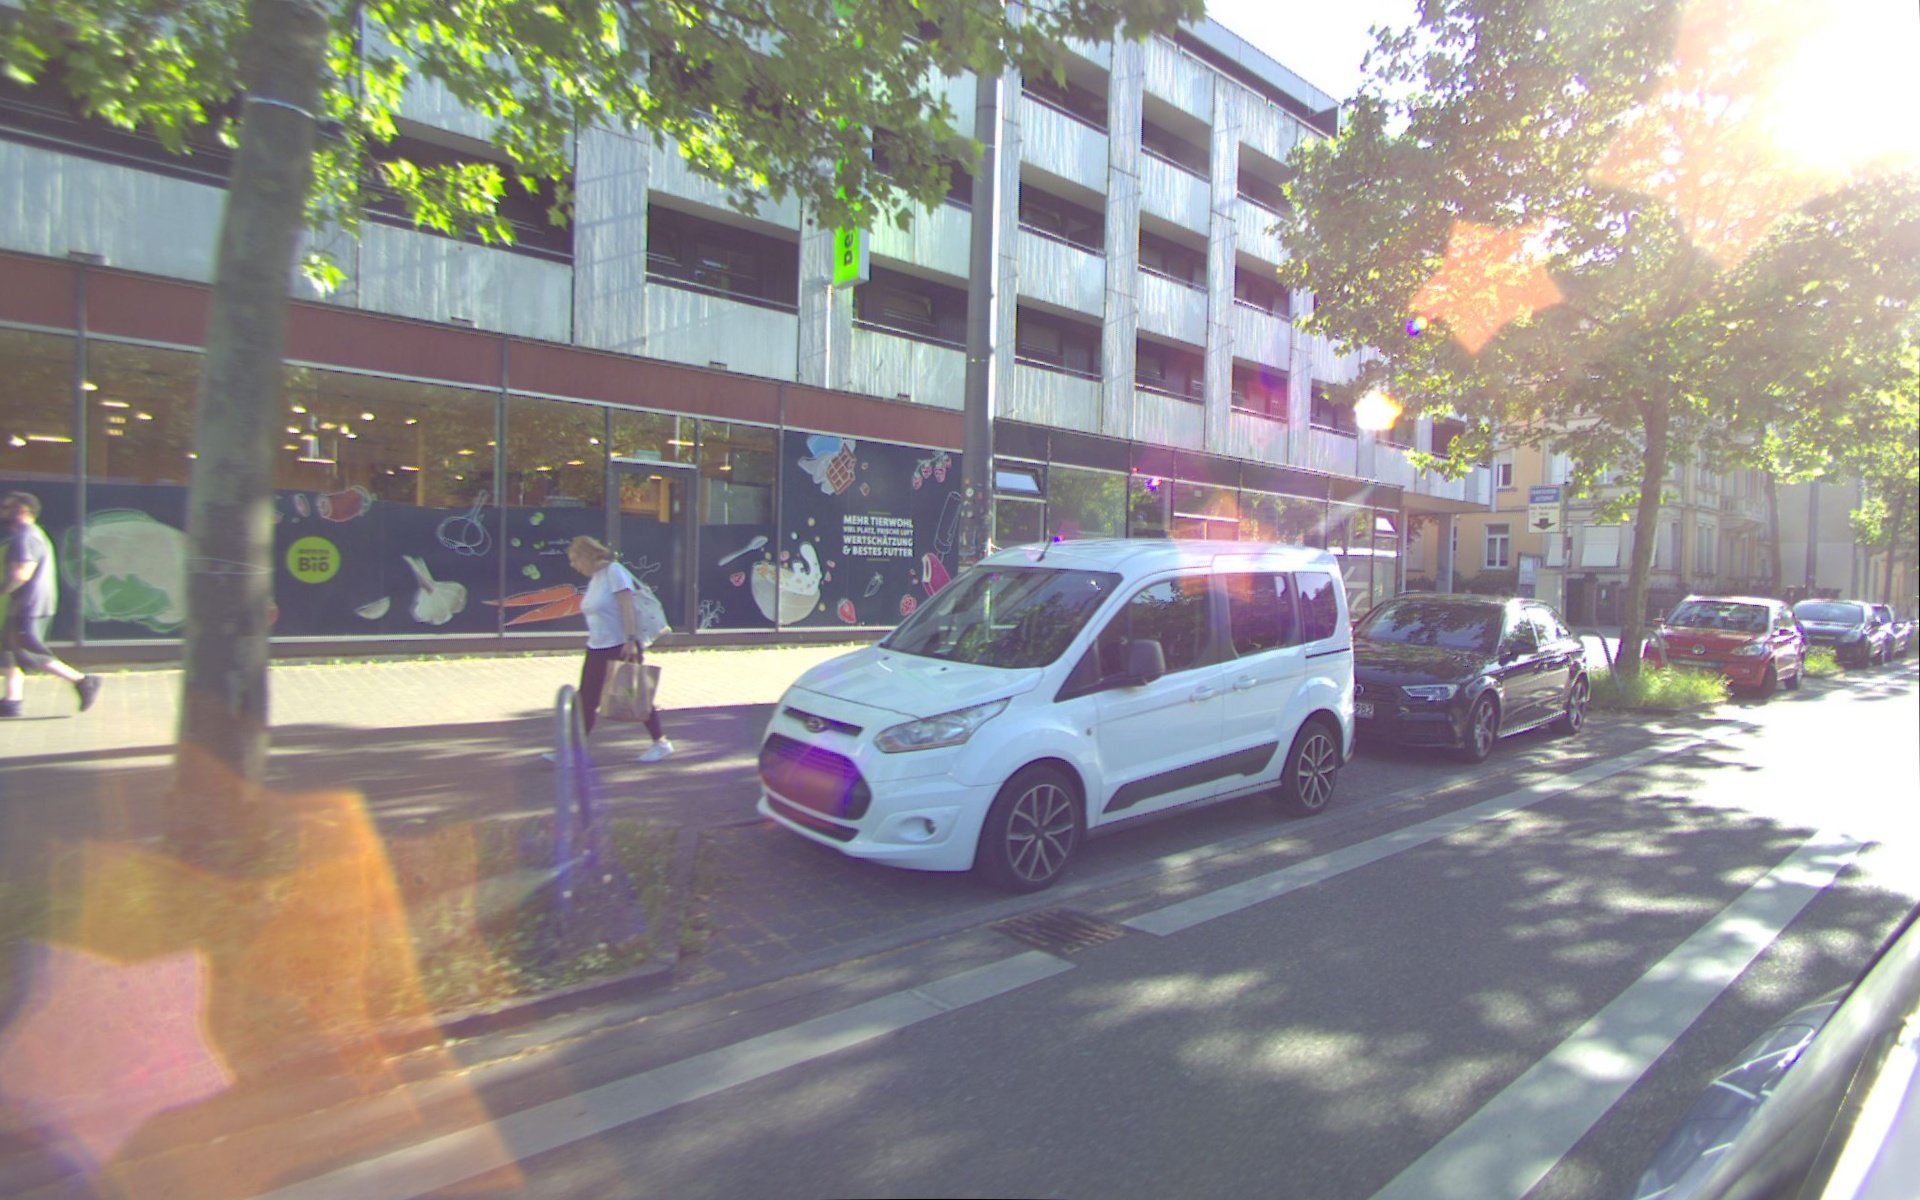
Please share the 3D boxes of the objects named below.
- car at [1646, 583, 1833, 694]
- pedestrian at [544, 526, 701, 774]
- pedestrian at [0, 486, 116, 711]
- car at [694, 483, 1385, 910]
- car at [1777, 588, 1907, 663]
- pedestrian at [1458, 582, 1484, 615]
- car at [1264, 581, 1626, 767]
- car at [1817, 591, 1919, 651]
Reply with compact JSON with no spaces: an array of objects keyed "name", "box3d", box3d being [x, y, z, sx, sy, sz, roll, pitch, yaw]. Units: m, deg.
[{"name":"car","box3d":[12.630,0.522,16.333,3.627,1.455,1.676,-2,5,-42]},{"name":"pedestrian","box3d":[-2.408,0.308,7.208,0.852,1.632,0.700,0,3,-39]},{"name":"pedestrian","box3d":[-7.239,-0.028,7.991,0.867,1.698,0.559,-1,4,-41]},{"name":"car","box3d":[0.737,0.362,6.361,4.315,1.814,1.768,0,3,-40]},{"name":"car","box3d":[19.810,0.499,22.676,3.862,1.459,1.629,-1,3,-41]},{"name":"pedestrian","box3d":[18.130,-0.064,35.913,0.672,1.123,0.560,0,2,-40]},{"name":"car","box3d":[5.013,0.566,10.189,4.221,1.420,1.732,-1,4,-41]},{"name":"car","box3d":[23.936,0.485,26.412,4.202,1.399,1.780,-1,2,-41]}]
